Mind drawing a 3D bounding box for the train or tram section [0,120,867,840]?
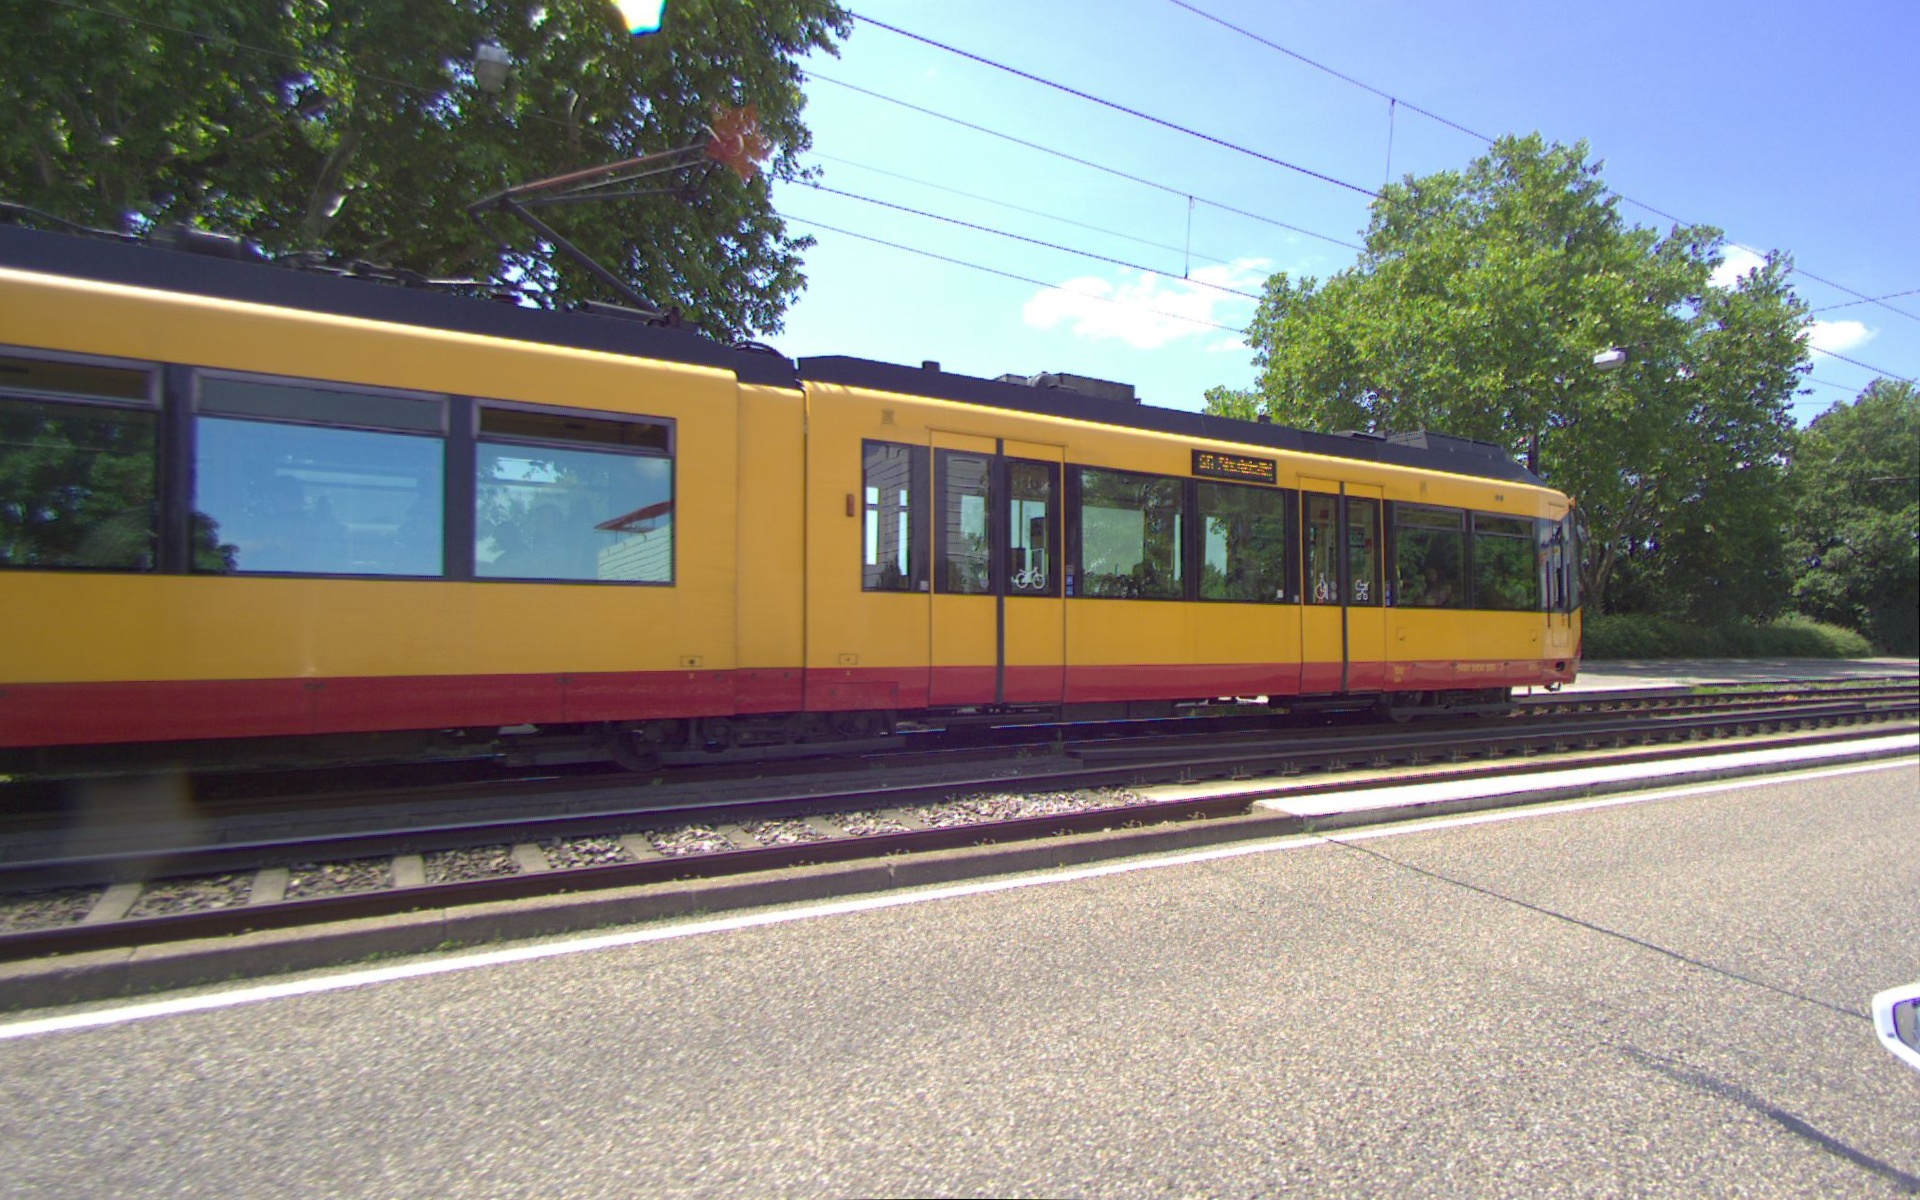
[{"bbox_3d":[-5.919,-0.681,7.443,10.115,4.203,3.023,1,-1,-31],"label":"train or tram section"}]

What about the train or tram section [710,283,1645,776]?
[{"bbox_3d":[3.937,-0.455,13.376,13.819,4.196,3.023,1,-1,-31],"label":"train or tram section"}]
